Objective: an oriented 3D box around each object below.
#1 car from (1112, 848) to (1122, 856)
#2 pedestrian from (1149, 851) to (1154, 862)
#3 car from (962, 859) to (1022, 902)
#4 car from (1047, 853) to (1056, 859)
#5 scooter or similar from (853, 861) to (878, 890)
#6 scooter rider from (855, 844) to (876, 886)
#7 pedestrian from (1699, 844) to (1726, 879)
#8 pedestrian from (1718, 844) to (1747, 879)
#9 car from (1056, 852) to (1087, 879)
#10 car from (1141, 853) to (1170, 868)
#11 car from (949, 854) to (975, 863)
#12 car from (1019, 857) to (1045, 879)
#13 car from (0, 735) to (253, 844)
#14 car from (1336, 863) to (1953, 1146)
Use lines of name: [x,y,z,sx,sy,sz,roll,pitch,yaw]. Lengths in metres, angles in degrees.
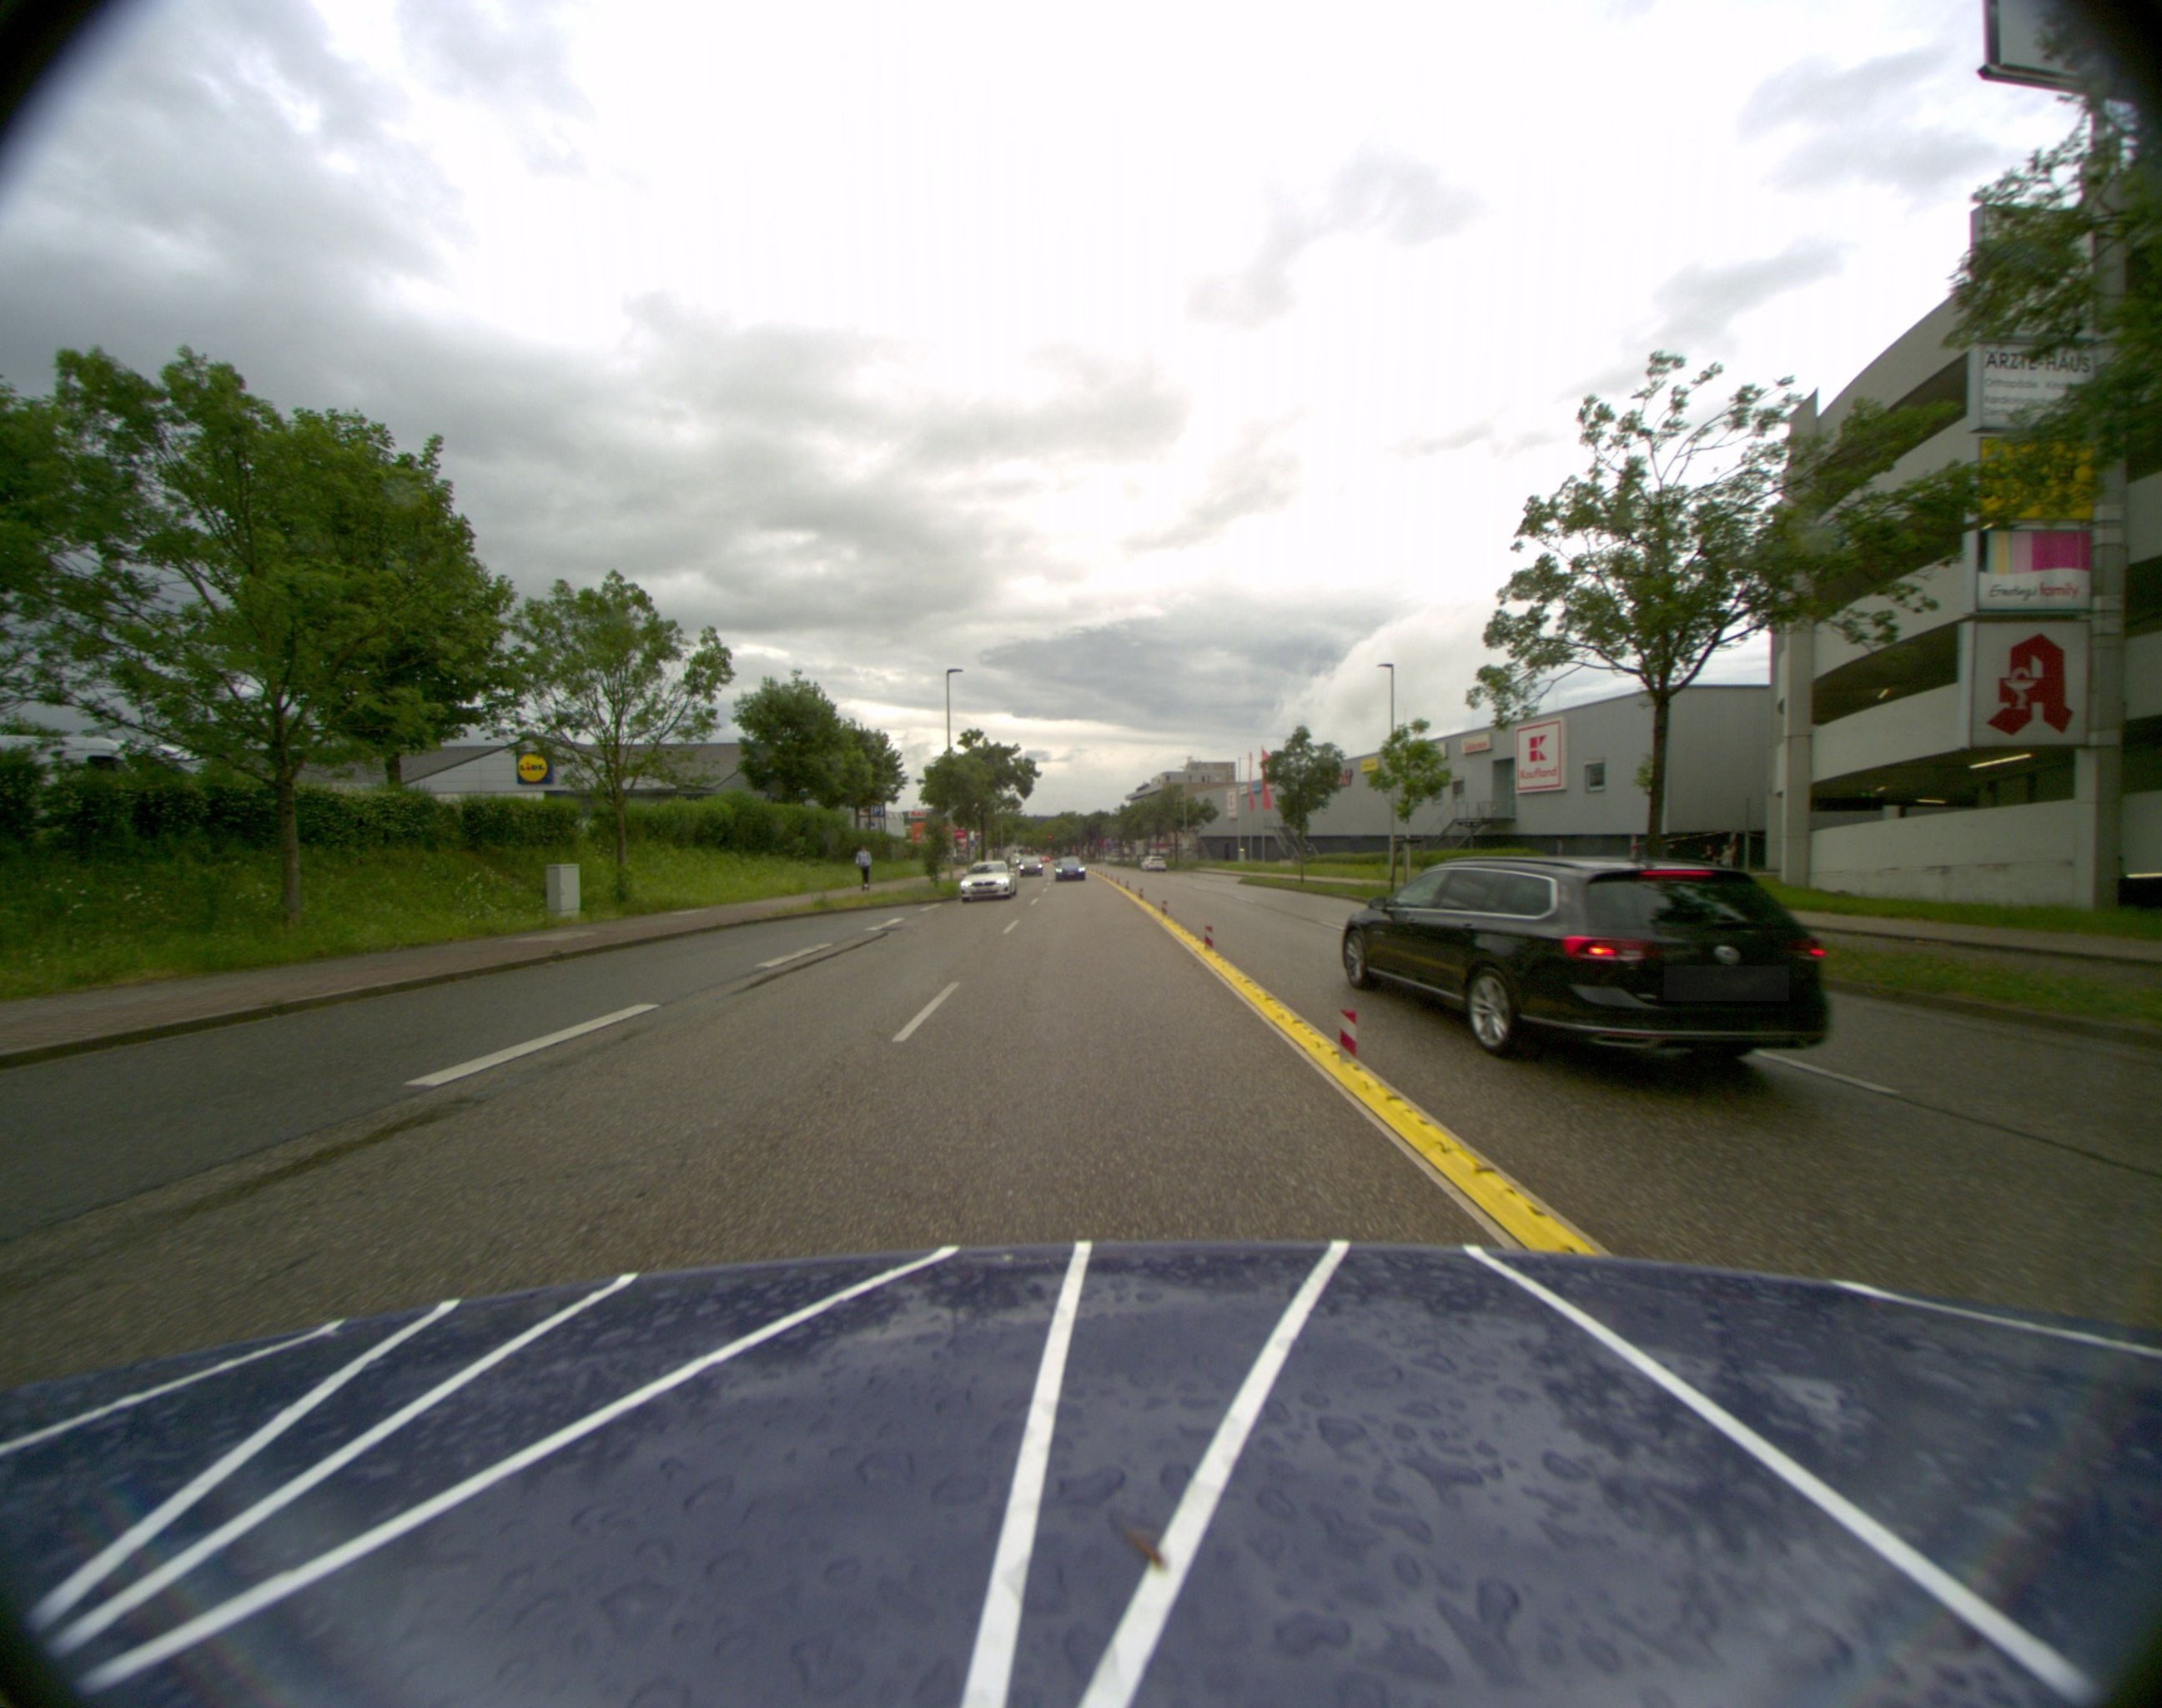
car: [9.898,-0.493,208.969,1.999,2.002,4.884,-5,1,-1]
pedestrian: [11.067,0.386,118.567,0.586,1.574,0.766,-3,1,-4]
car: [-3.391,0.972,29.754,1.808,1.432,4.541,-3,0,-1]
car: [-7.103,0.546,182.036,1.789,1.398,4.613,0,0,-7]
scooter or similar: [-9.622,0.948,33.918,0.696,1.256,1.400,1,1,0]
scooter rider: [-9.613,0.485,33.943,0.696,1.810,0.858,1,1,0]
pedestrian: [29.502,0.335,35.508,0.450,1.566,0.861,-3,1,-3]
pedestrian: [29.593,0.346,34.533,0.450,1.566,0.860,-4,1,-16]
car: [-0.567,0.682,47.986,1.799,1.572,4.218,-3,0,-1]
car: [7.121,0.615,72.740,1.905,1.400,4.421,0,0,-6]
car: [-23.021,0.818,146.906,4.666,1.591,1.927,2,0,4]
car: [-3.957,1.080,61.675,1.799,1.572,4.218,-3,0,-1]
car: [-22.326,-1.388,16.641,5.625,2.130,2.120,2,1,-7]
car: [3.864,0.856,6.483,1.832,1.457,4.615,0,1,0]
